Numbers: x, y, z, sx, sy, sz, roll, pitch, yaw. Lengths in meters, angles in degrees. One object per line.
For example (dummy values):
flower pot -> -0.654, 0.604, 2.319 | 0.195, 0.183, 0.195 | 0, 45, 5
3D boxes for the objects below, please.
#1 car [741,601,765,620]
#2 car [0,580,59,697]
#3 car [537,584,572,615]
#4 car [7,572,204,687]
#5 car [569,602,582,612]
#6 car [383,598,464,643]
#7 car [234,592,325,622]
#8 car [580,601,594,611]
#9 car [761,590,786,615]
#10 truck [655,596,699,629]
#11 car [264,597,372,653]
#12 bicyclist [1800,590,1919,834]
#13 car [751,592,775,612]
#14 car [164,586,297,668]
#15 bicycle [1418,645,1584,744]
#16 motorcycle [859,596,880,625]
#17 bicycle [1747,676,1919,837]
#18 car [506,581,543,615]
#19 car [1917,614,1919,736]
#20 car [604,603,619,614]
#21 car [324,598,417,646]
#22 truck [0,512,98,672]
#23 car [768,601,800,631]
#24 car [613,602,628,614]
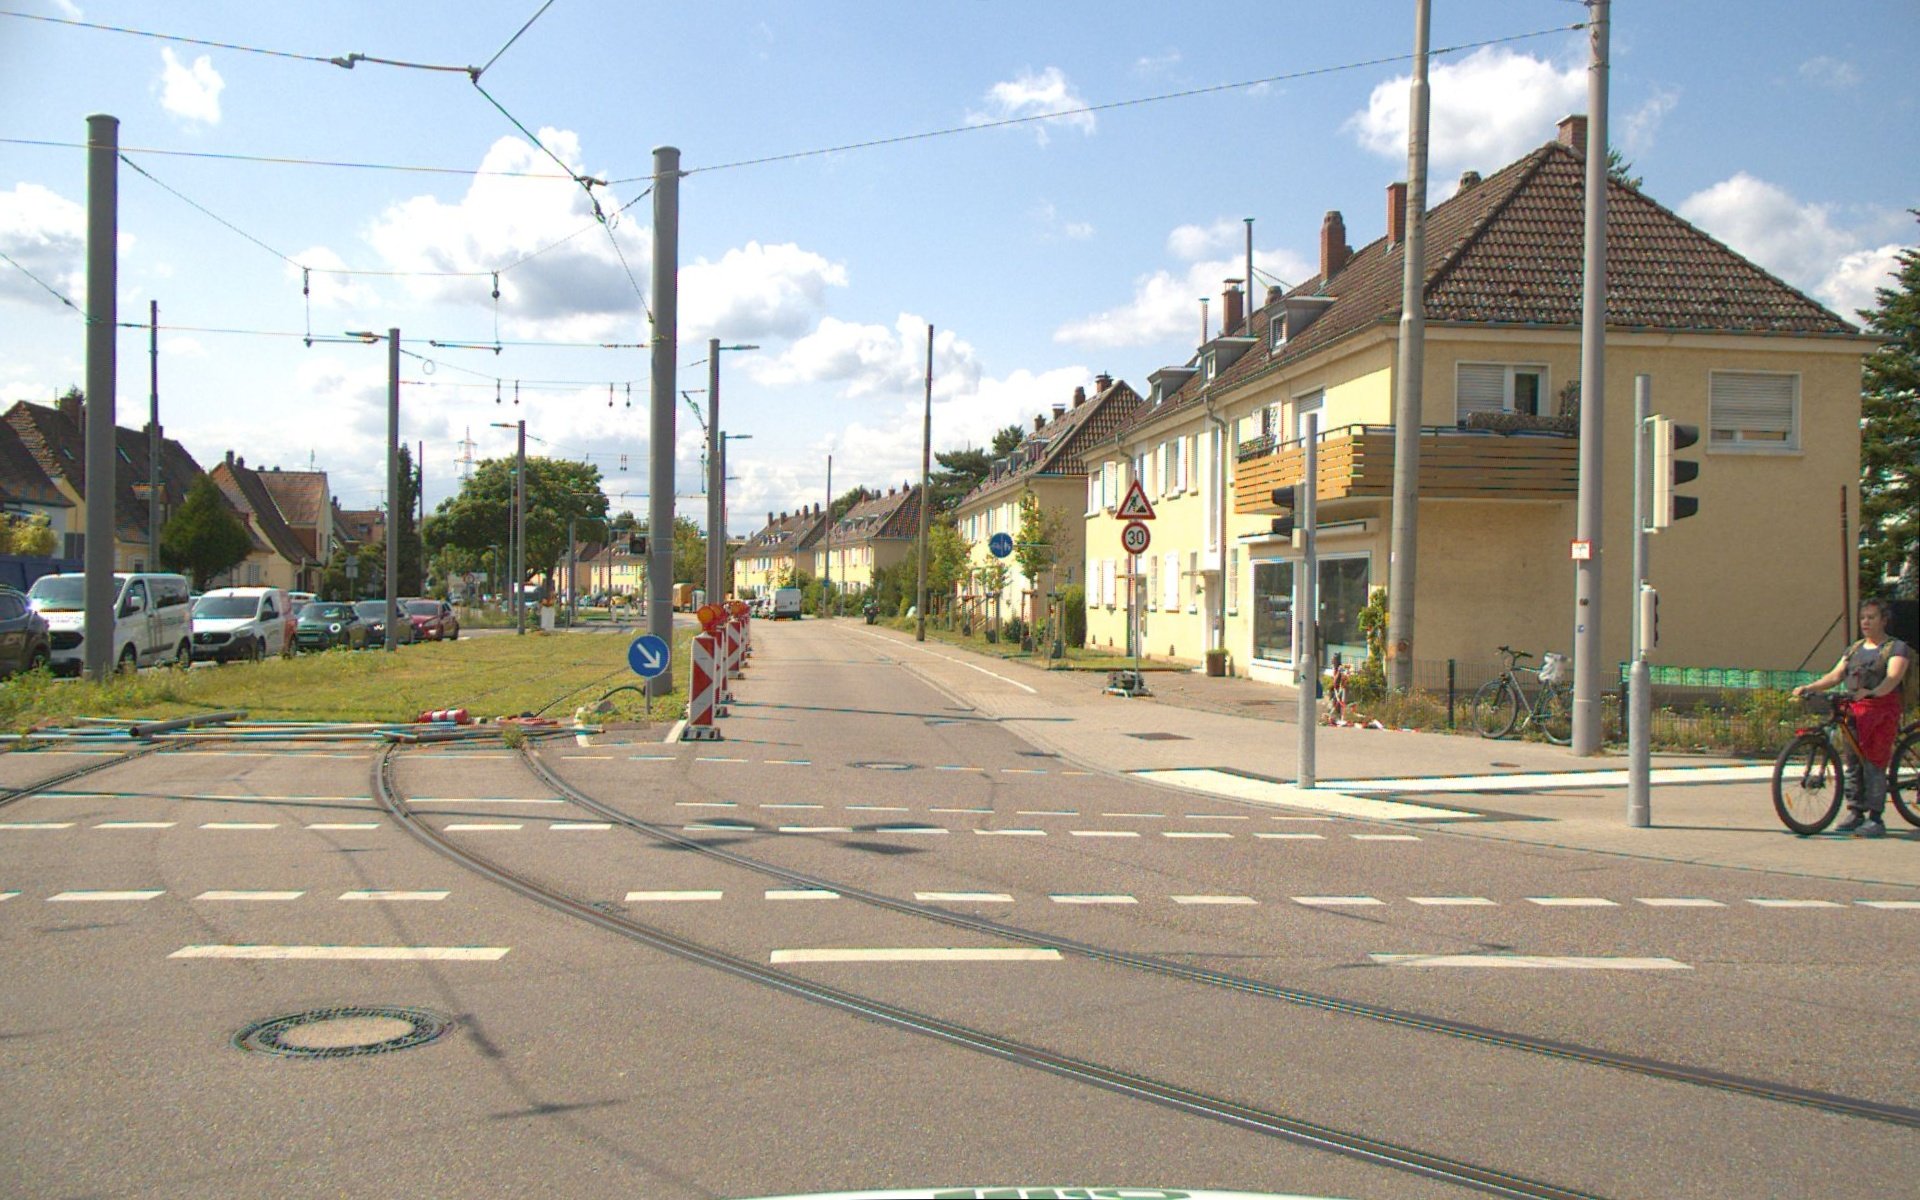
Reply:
car -> -17.824, 0.912, 142.310 | 1.541, 1.579, 3.775 | 1, -1, -14
car -> -15.242, 0.565, 24.507 | 1.752, 1.751, 4.434 | 1, 0, -7
car -> -32.515, -0.065, 132.452 | 2.369, 2.412, 4.855 | 1, 0, -17
car -> -15.826, 0.527, 30.918 | 1.780, 1.955, 4.739 | 1, 0, -8
car -> -53.980, 1.015, 232.433 | 1.152, 1.451, 2.641 | 1, -1, -28
car -> -19.093, 0.720, 59.054 | 1.808, 1.520, 4.848 | 1, -1, -7
car -> -35.695, 0.350, 86.830 | 4.030, 1.492, 1.988 | 0, 0, -8
car -> -51.541, 0.794, 228.486 | 1.242, 1.374, 2.642 | 1, -1, -27
car -> -14.866, 0.208, 131.805 | 1.541, 1.931, 3.775 | 1, -1, -14
truck -> -31.256, 1.342, 182.309 | 2.605, 3.555, 9.368 | 1, -1, -23
car -> -17.535, 0.662, 45.365 | 1.879, 1.444, 3.992 | 1, -1, -8
bicyclist -> 7.114, 0.837, 12.759 | 0.945, 1.806, 0.713 | 1, -1, -27
car -> -16.311, 0.149, 136.673 | 1.541, 1.578, 3.776 | 0, 0, -14
car -> -17.013, 0.611, 38.776 | 1.700, 1.813, 4.396 | 1, 0, -8
bicycle -> 6.718, 1.147, 20.686 | 0.585, 1.115, 2.258 | 1, -1, -25
motorcycle -> -5.303, 0.637, 97.099 | 1.046, 1.664, 2.079 | 1, -1, -8
bicycle -> 7.018, 1.164, 12.708 | 2.003, 1.121, 0.709 | 1, -1, -28
car -> -31.709, -0.140, 120.292 | 2.369, 2.379, 4.855 | 1, -1, -17
car -> 14.200, 0.979, 20.624 | 1.789, 1.649, 3.990 | 1, -2, -10
car -> -46.032, 1.161, 218.533 | 1.242, 1.451, 2.642 | 1, -1, -27
car -> -18.514, 0.676, 52.164 | 1.809, 1.438, 4.907 | 1, -1, -8
truck -> -20.930, -0.170, 34.578 | 2.717, 3.244, 7.568 | 1, -1, -8
car -> -13.002, 1.162, 122.235 | 2.028, 2.187, 4.867 | 1, -1, -10
car -> -43.904, 1.047, 213.828 | 1.241, 1.451, 2.644 | 1, -1, -25
